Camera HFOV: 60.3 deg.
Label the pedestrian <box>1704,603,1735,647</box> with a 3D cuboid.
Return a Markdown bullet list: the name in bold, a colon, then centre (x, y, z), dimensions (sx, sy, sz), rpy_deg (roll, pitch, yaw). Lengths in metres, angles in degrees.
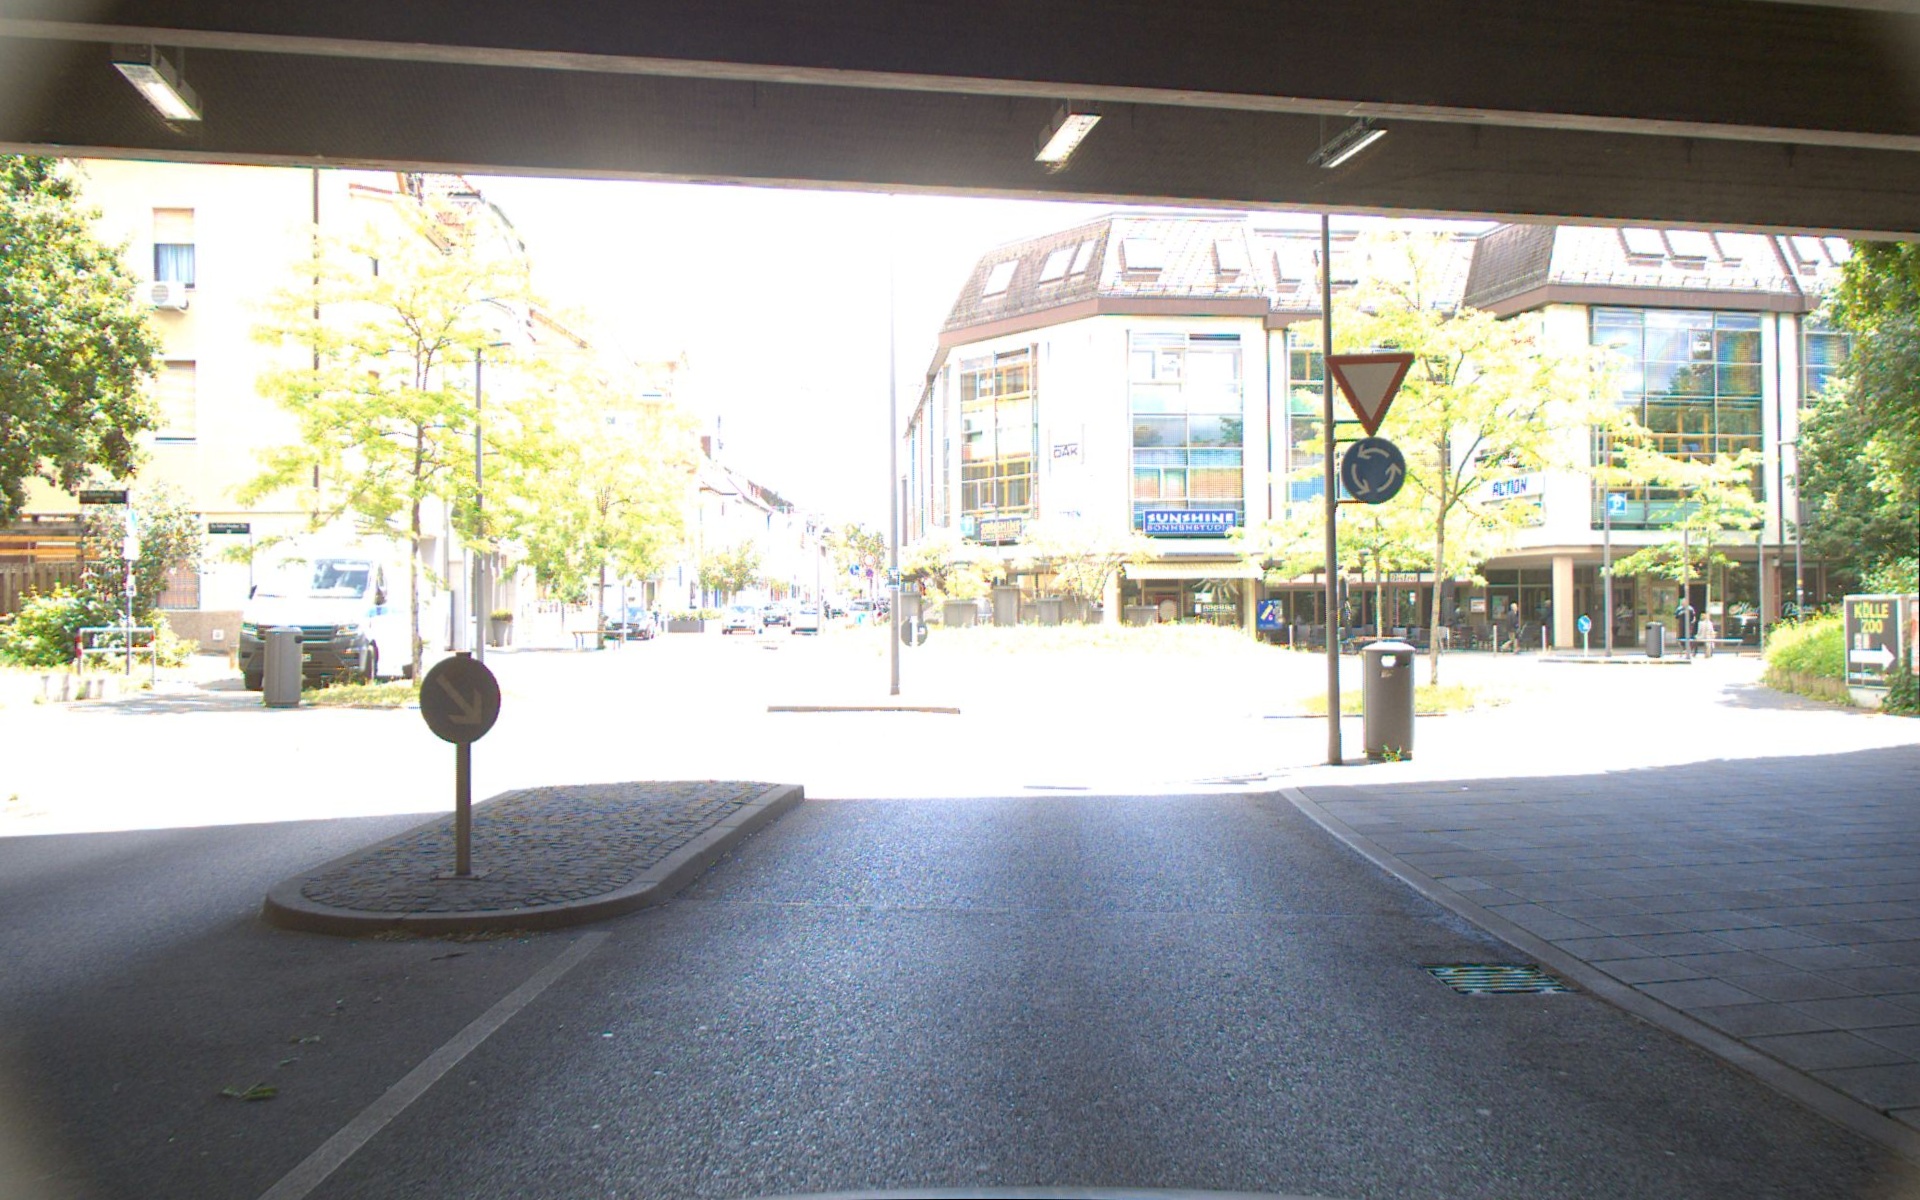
- **pedestrian**: centre (23.154, 0.762, 50.434), dimensions (0.603, 1.307, 0.697), rpy_deg (0, 0, -2)

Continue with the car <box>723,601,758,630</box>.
- **car**: centre (-10.778, 0.740, 81.326), dimensions (1.677, 1.378, 3.993), rpy_deg (0, 0, -8)

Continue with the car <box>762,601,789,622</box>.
- **car**: centre (-12.313, 0.766, 110.307), dimensions (1.677, 1.378, 3.993), rpy_deg (0, 0, -8)

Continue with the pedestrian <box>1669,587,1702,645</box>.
- **pedestrian**: centre (23.653, 0.527, 53.917), dimensions (0.604, 1.850, 0.696), rpy_deg (-4, 0, -10)

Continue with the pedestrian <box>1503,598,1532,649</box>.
- **pedestrian**: centre (18.481, 0.776, 54.868), dimensions (0.687, 1.704, 0.612), rpy_deg (1, 0, -28)

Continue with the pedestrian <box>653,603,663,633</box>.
- **pedestrian**: centre (-17.153, 1.008, 93.884), dimensions (0.541, 1.715, 0.515), rpy_deg (0, 0, -7)

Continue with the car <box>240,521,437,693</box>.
- **car**: centre (-10.626, 0.113, 28.750), dimensions (1.931, 2.652, 5.919), rpy_deg (1, 0, -8)

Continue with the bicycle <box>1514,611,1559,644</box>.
- **bicycle**: centre (21.478, 1.015, 61.613), dimensions (1.509, 1.188, 0.495), rpy_deg (0, -1, 29)

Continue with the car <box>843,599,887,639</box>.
- **car**: centre (-4.392, 0.863, 76.969), dimensions (1.787, 1.761, 4.232), rpy_deg (-1, 0, -1)

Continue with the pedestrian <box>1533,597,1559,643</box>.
- **pedestrian**: centre (21.855, 0.756, 61.643), dimensions (0.684, 1.704, 0.615), rpy_deg (0, 0, -15)

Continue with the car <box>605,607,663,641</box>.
- **car**: centre (-13.067, 0.942, 66.514), dimensions (1.675, 1.267, 4.409), rpy_deg (0, 0, -3)

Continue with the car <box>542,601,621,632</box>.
- **car**: centre (-22.199, 0.960, 97.008), dimensions (4.353, 1.807, 1.988), rpy_deg (0, -1, -20)

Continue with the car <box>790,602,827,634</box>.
- **car**: centre (-7.643, 0.903, 83.609), dimensions (1.789, 1.546, 4.228), rpy_deg (-1, -1, -5)
